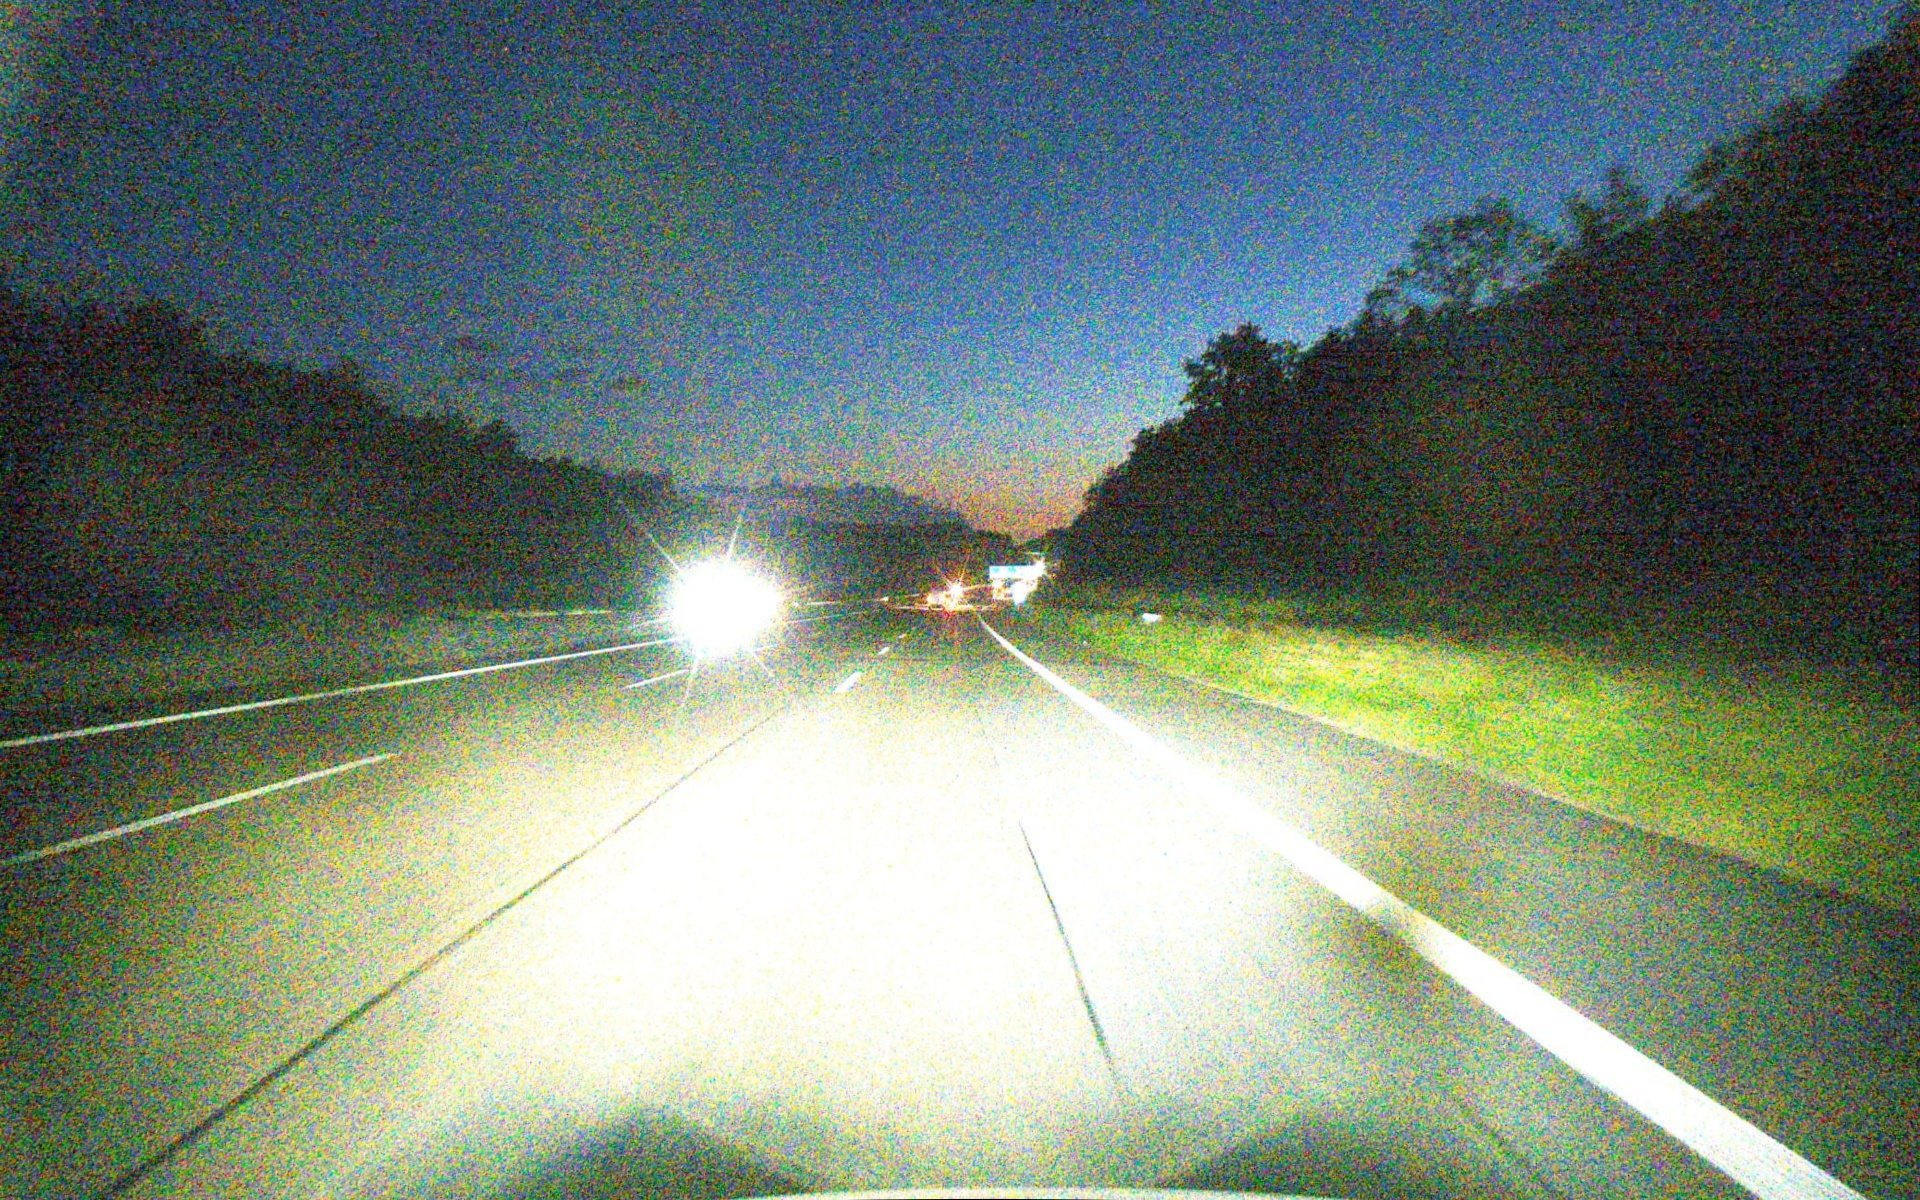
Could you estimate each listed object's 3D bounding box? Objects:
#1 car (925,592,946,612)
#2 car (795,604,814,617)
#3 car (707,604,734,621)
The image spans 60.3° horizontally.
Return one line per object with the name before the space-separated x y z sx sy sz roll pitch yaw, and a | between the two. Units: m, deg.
car | -2.981 0.280 201.900 2.459 2.354 4.971 0 0 1
car | -18.356 1.225 195.581 1.823 1.524 4.704 0 0 0
car | -22.951 1.169 158.465 2.010 1.626 5.075 0 0 -2
